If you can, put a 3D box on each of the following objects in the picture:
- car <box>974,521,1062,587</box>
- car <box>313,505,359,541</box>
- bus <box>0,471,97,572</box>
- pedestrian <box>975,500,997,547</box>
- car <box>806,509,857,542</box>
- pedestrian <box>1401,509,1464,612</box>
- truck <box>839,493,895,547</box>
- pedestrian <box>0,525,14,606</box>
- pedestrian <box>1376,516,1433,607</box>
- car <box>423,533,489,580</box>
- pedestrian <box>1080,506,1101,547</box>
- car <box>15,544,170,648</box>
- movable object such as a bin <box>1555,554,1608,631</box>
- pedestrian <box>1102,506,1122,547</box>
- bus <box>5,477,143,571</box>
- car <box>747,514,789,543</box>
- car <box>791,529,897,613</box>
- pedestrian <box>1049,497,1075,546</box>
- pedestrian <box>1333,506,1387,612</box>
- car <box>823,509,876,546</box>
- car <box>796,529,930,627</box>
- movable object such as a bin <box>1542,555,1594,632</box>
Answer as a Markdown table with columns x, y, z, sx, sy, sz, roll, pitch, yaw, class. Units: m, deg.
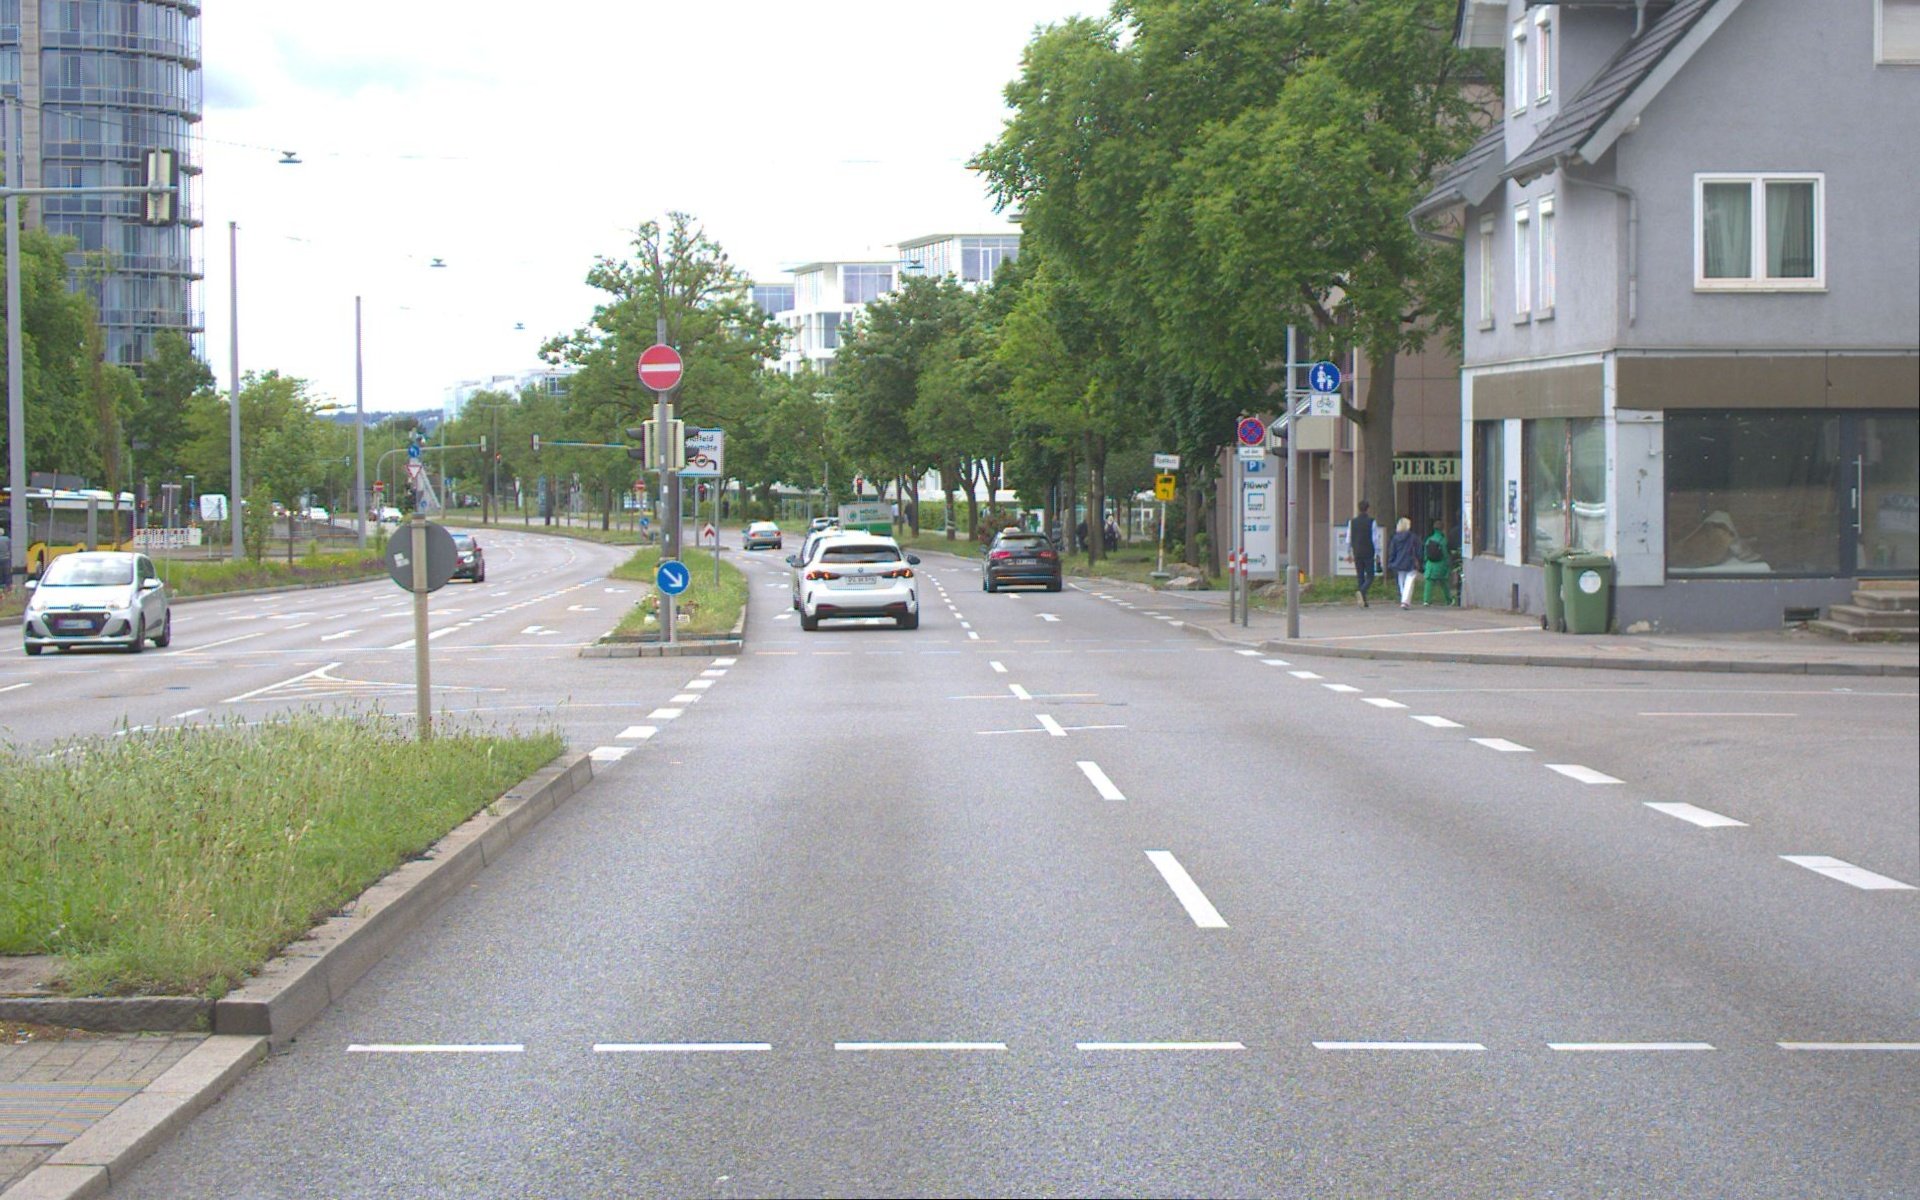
| x | y | z | sx | sy | sz | roll | pitch | yaw | class |
| --- | --- | --- | --- | --- | --- | --- | --- | --- | --- |
| 1.344 | -1.068 | 81.357 | 1.889 | 1.489 | 4.099 | -1 | 0 | -1 | car |
| -36.334 | -4.468 | 200.261 | 1.965 | 2.007 | 4.000 | 1 | 1 | -1 | car |
| -31.397 | -2.570 | 114.465 | 3.144 | 3.214 | 10.286 | -1 | 1 | -3 | bus |
| 1.291 | -3.768 | 170.299 | 0.930 | 2.300 | 1.011 | 1 | 0 | -10 | pedestrian |
| -6.507 | -3.746 | 173.859 | 2.250 | 1.641 | 4.934 | -1 | 1 | -5 | car |
| 8.230 | -0.693 | 59.875 | 0.867 | 1.773 | 0.708 | -1 | 1 | -16 | pedestrian |
| -4.265 | -3.649 | 156.468 | 2.251 | 2.408 | 4.934 | 0 | 1 | -5 | truck |
| -22.506 | -0.804 | 80.305 | 0.661 | 1.891 | 0.686 | -1 | 1 | -8 | pedestrian |
| 7.416 | -0.639 | 57.332 | 0.706 | 1.502 | 0.869 | 0 | 1 | 24 | pedestrian |
| -16.390 | -1.411 | 111.908 | 1.702 | 1.487 | 3.562 | -1 | 1 | -1 | car |
| 4.996 | -2.806 | 131.688 | 0.650 | 1.564 | 0.671 | -1 | 1 | -8 | pedestrian |
| -12.805 | -0.090 | 50.924 | 1.684 | 1.457 | 3.556 | -1 | 1 | -5 | car |
| 7.959 | -0.102 | 44.049 | 0.529 | 0.976 | 0.736 | -1 | 1 | -1 | movable object such as a bin |
| 5.821 | -2.814 | 131.663 | 0.650 | 1.564 | 0.671 | -1 | 1 | -8 | pedestrian |
| -31.736 | -2.712 | 123.469 | 3.144 | 3.214 | 7.766 | -1 | 1 | -2 | bus |
| -9.692 | -3.600 | 173.152 | 1.967 | 1.415 | 4.023 | -1 | 1 | -5 | car |
| -2.199 | -0.579 | 66.058 | 1.822 | 1.535 | 4.114 | -1 | 1 | 1 | car |
| 4.230 | -3.259 | 142.577 | 0.971 | 2.007 | 0.981 | 1 | 0 | -1 | pedestrian |
| 6.756 | -0.688 | 58.001 | 0.706 | 1.773 | 0.869 | 0 | 1 | 20 | pedestrian |
| -5.311 | -3.481 | 165.066 | 2.251 | 1.751 | 4.934 | -1 | 1 | -5 | car |
| -1.499 | -0.377 | 54.487 | 1.993 | 1.472 | 4.256 | -1 | 1 | 0 | car |
| 7.931 | -0.090 | 44.840 | 0.529 | 0.976 | 0.736 | -1 | 1 | -1 | movable object such as a bin |
